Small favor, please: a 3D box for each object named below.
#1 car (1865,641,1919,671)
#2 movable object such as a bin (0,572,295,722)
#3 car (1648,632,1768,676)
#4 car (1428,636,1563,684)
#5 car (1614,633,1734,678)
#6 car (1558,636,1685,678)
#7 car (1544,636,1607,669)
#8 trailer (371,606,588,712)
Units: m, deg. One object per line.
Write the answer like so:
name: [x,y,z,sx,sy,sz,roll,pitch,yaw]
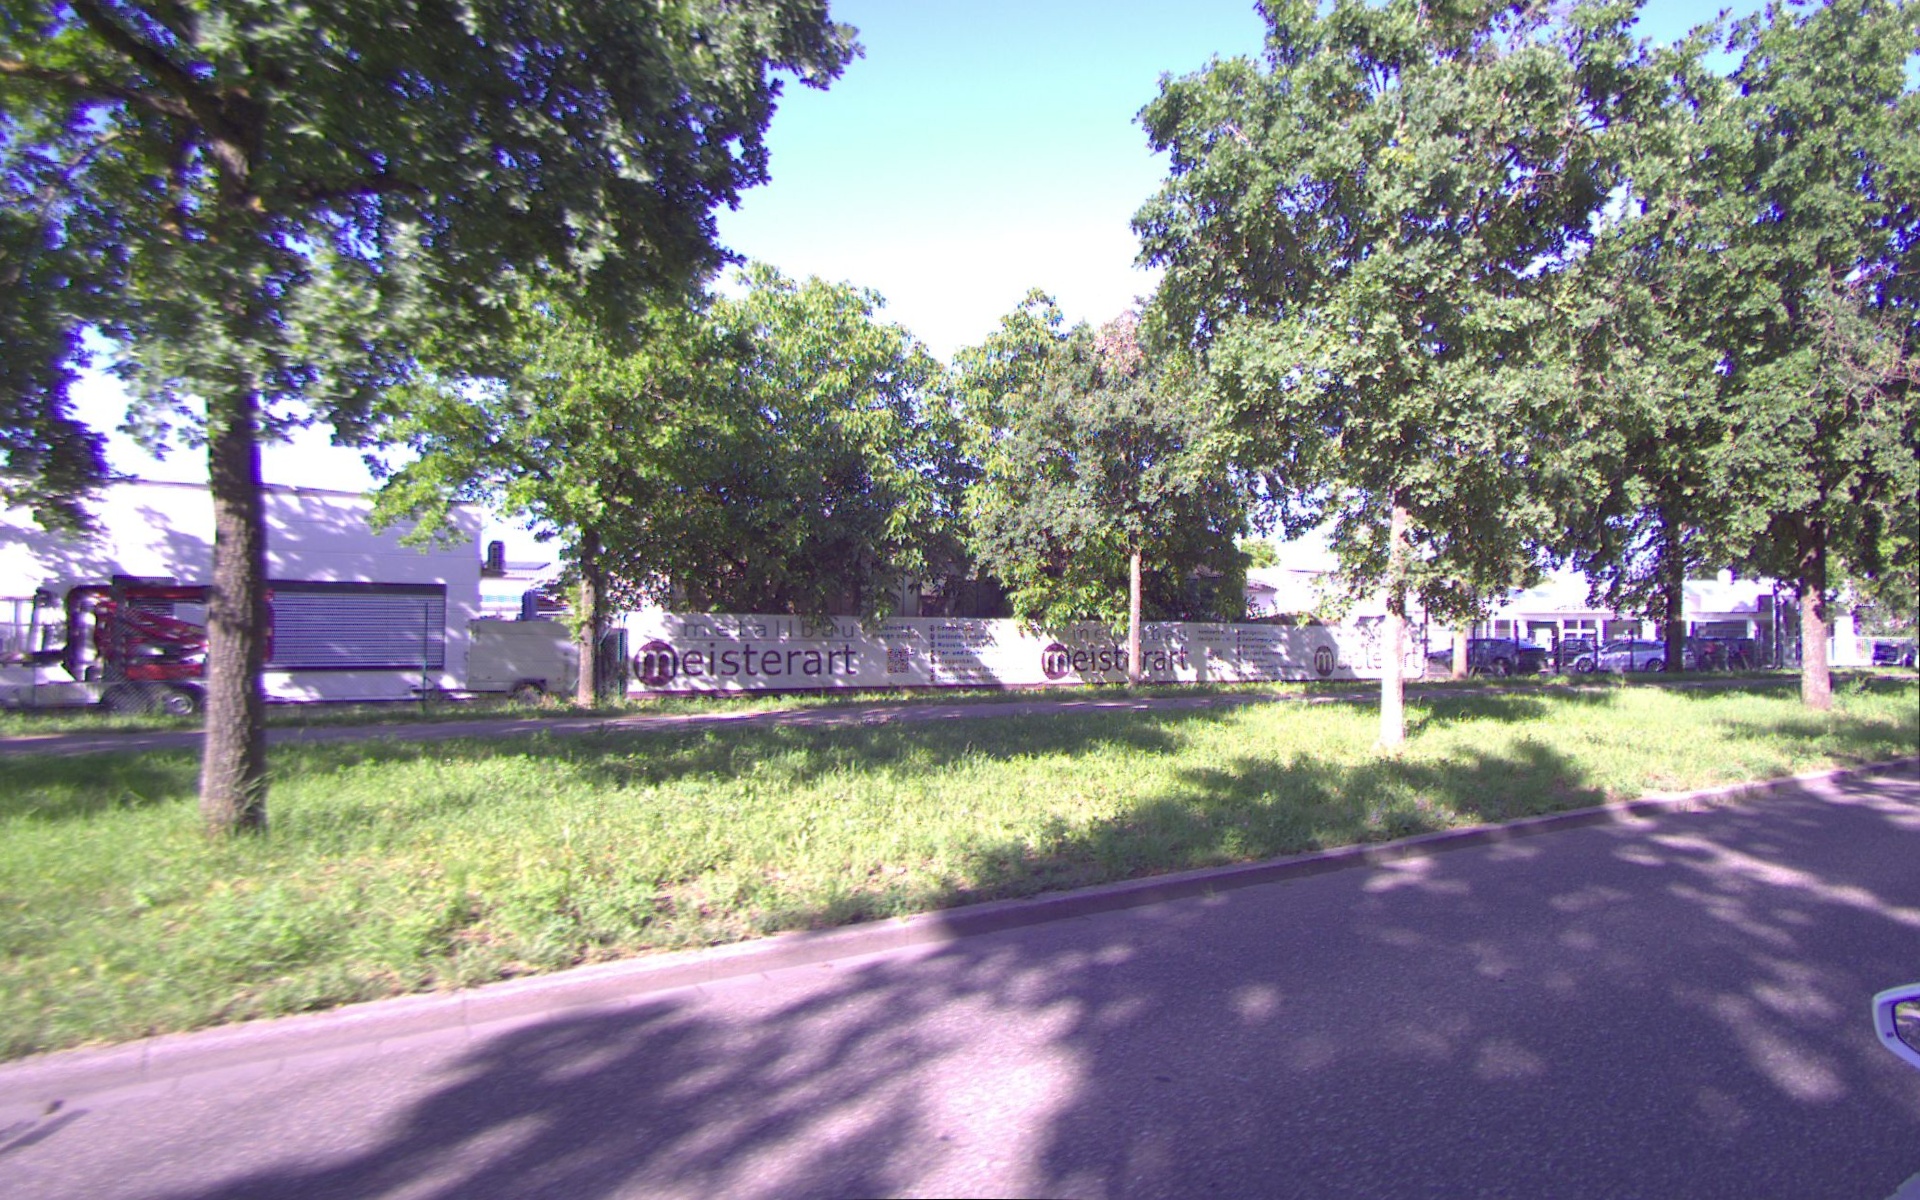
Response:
car: [49.229,2.933,52.441,1.402,1.489,2.567,1,-1,-16]
movable object such as a bin: [-15.148,0.842,18.874,4.185,2.549,1.984,2,0,-29]
car: [34.353,2.439,46.223,1.976,1.765,3.968,2,0,-29]
car: [20.247,2.252,38.117,2.173,1.539,3.967,2,0,-30]
car: [31.815,2.438,44.875,1.840,1.769,3.967,2,0,-30]
car: [28.893,2.467,44.013,1.840,1.539,4.290,2,0,-30]
car: [35.197,2.953,57.385,1.973,1.712,5.228,2,0,44]
trailer: [-9.989,1.192,21.034,3.915,2.040,1.747,1,-1,-29]
